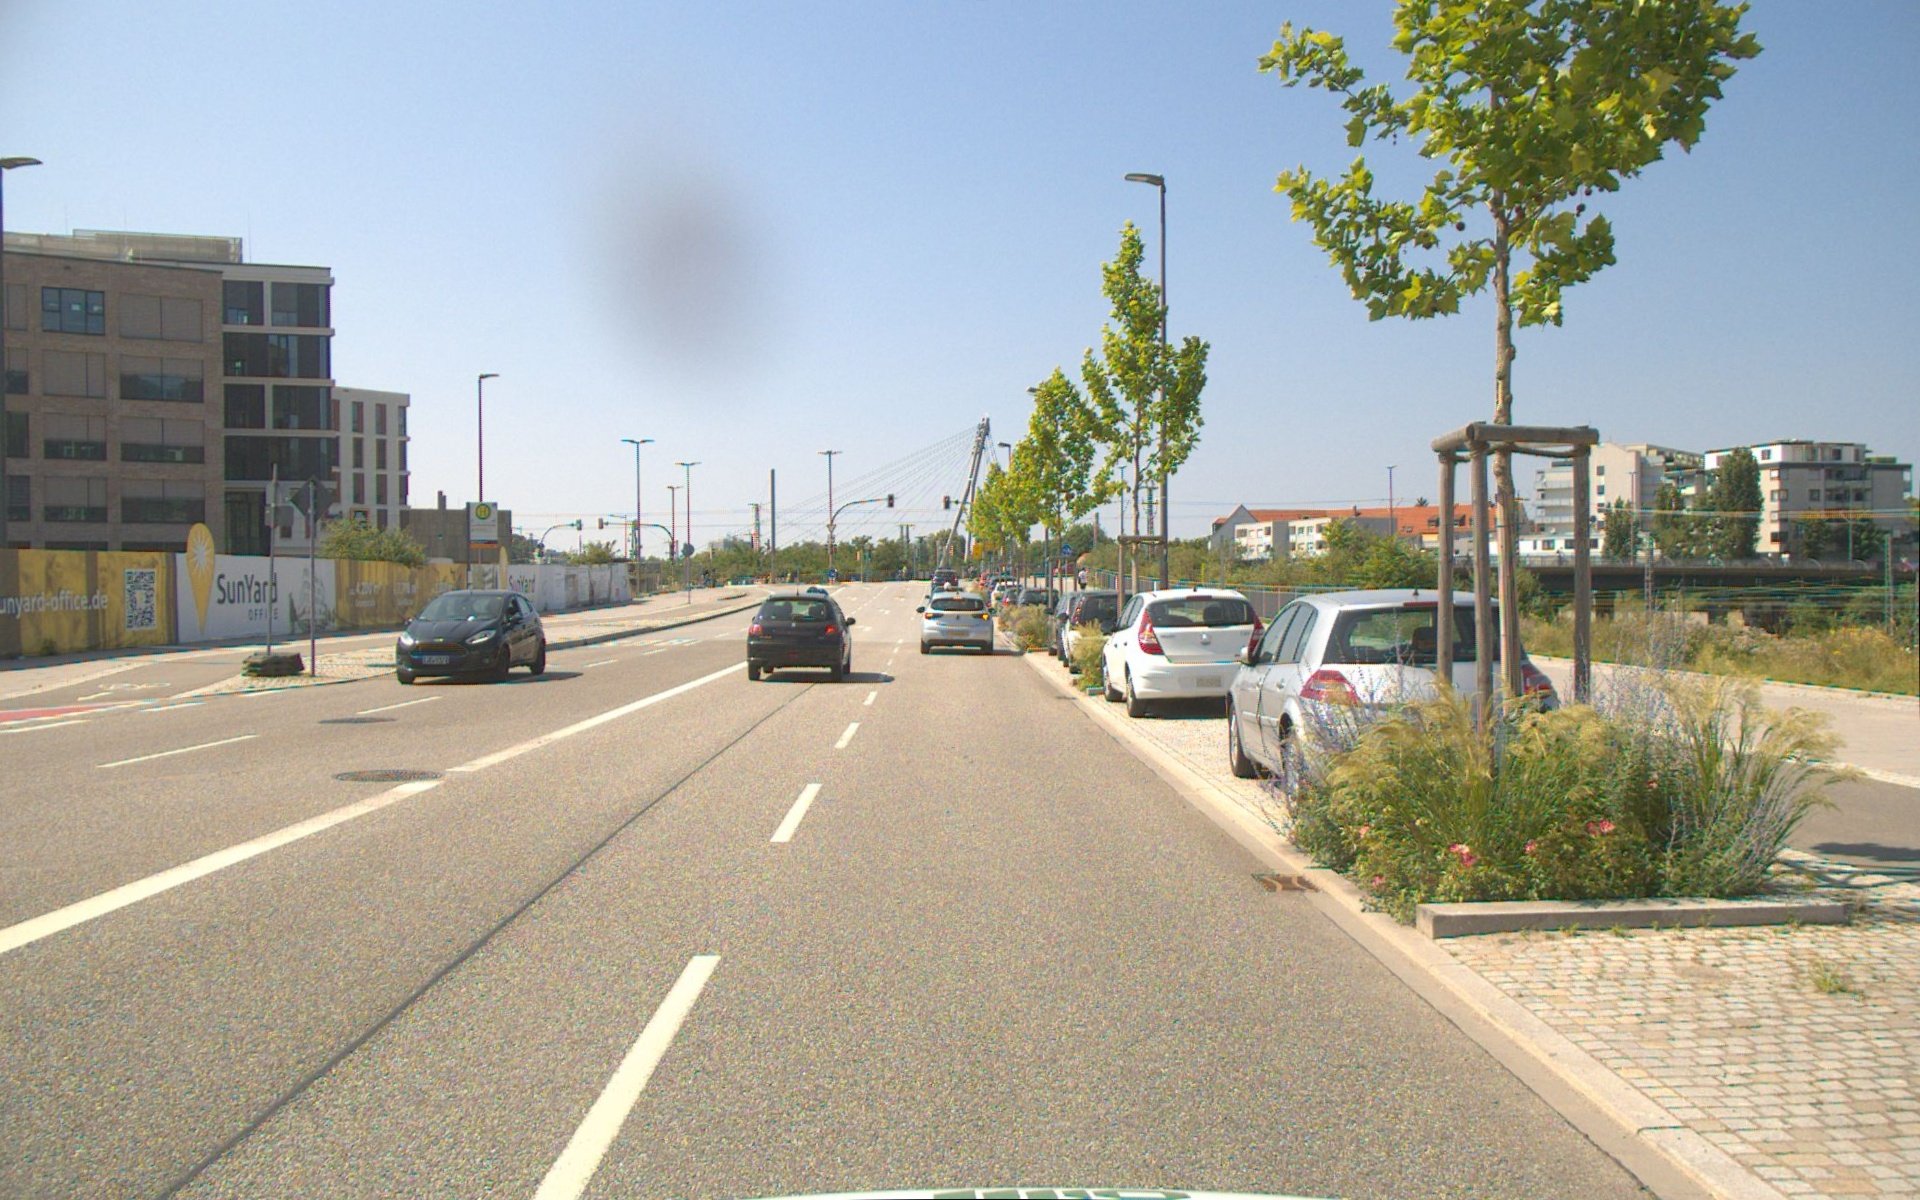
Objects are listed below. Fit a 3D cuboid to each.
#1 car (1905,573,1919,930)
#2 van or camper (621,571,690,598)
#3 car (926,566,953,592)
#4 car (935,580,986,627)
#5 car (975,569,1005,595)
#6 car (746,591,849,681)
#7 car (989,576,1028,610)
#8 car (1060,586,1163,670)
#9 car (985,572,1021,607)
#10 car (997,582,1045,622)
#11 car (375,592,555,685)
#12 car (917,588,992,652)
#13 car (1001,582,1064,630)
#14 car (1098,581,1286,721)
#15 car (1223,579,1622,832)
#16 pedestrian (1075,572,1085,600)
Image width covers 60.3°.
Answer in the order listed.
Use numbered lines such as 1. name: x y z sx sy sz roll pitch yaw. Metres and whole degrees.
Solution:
1. car: 3.458 0.634 2.098 1.754 1.502 4.368 -2 0 -4
2. van or camper: -21.993 -1.136 119.717 1.964 1.930 4.689 0 1 42
3. car: -1.332 -1.396 108.166 1.742 1.596 4.000 0 2 0
4. car: 0.010 0.088 59.052 1.742 1.596 4.000 -1 0 0
5. car: 1.867 -1.150 103.419 1.742 1.529 4.000 -1 1 0
6. car: -2.766 0.575 28.771 1.587 1.441 3.725 -1 0 -3
7. car: 2.283 -0.337 78.752 1.662 1.501 4.205 -2 1 0
8. car: 2.848 0.487 31.777 1.669 1.488 4.085 -1 0 1
9. car: 2.202 -0.574 85.410 1.785 1.644 3.612 -2 2 1
10. car: 2.300 0.064 63.162 1.669 1.426 4.270 -2 0 1
11. car: -8.051 0.574 27.313 1.669 1.375 4.455 -1 0 -1
12. car: -0.122 0.460 40.592 1.741 1.467 4.000 1 0 0
13. car: 2.322 0.175 53.678 1.670 1.488 3.952 -1 0 -3
14. car: 2.796 0.575 20.731 1.710 1.535 4.000 -2 0 -1
15. car: 3.109 0.614 12.034 1.869 1.505 4.159 -1 1 2
16. pedestrian: 7.015 -0.799 96.546 0.522 1.603 0.524 1 -1 0
